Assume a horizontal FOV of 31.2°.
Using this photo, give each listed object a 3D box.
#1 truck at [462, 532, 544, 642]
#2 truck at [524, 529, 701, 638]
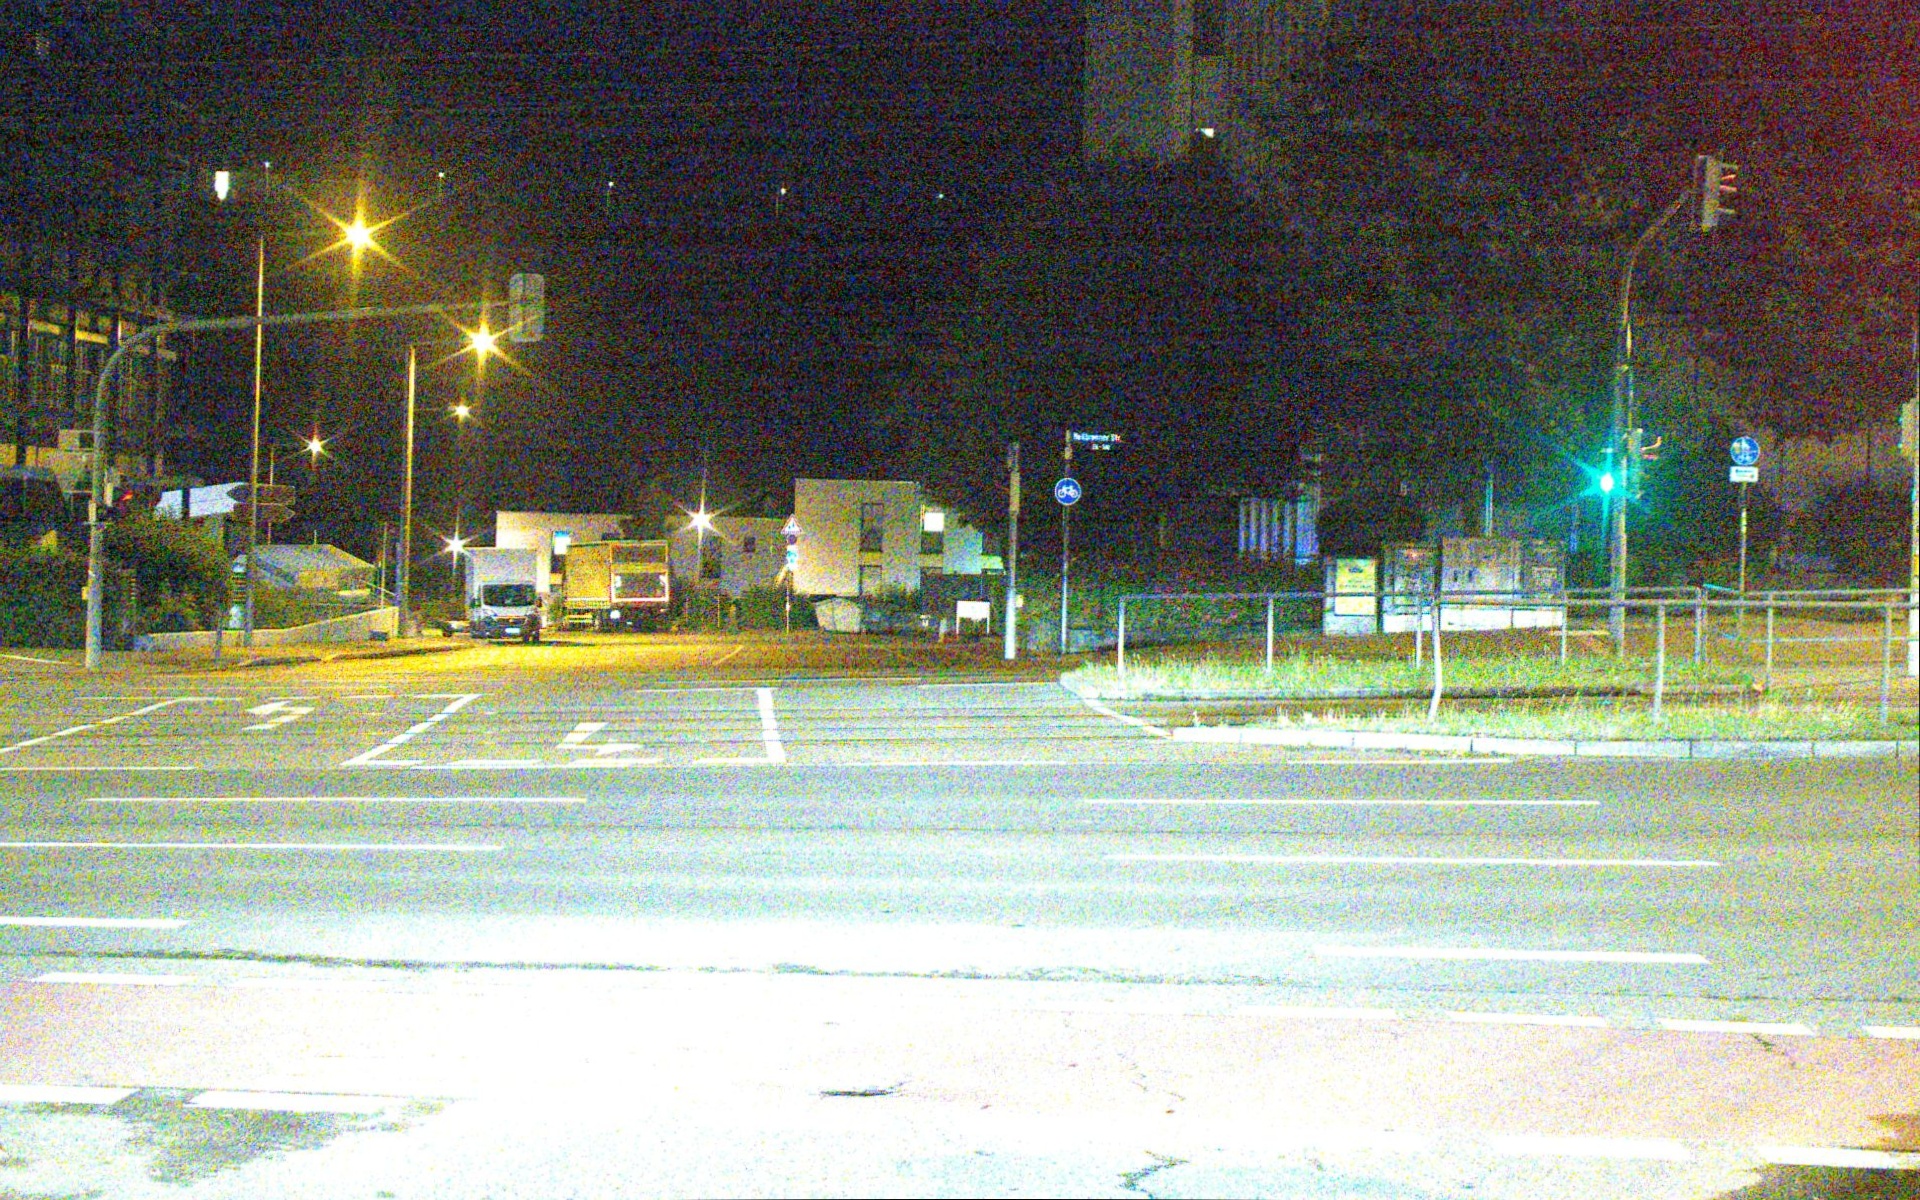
[{"bbox_3d":[-15.886,-0.472,119.315,2.582,3.694,5.739,1,1,-9],"label":"truck"},{"bbox_3d":[-15.416,-0.764,151.188,4.821,4.531,12.669,1,1,-19],"label":"truck"}]
